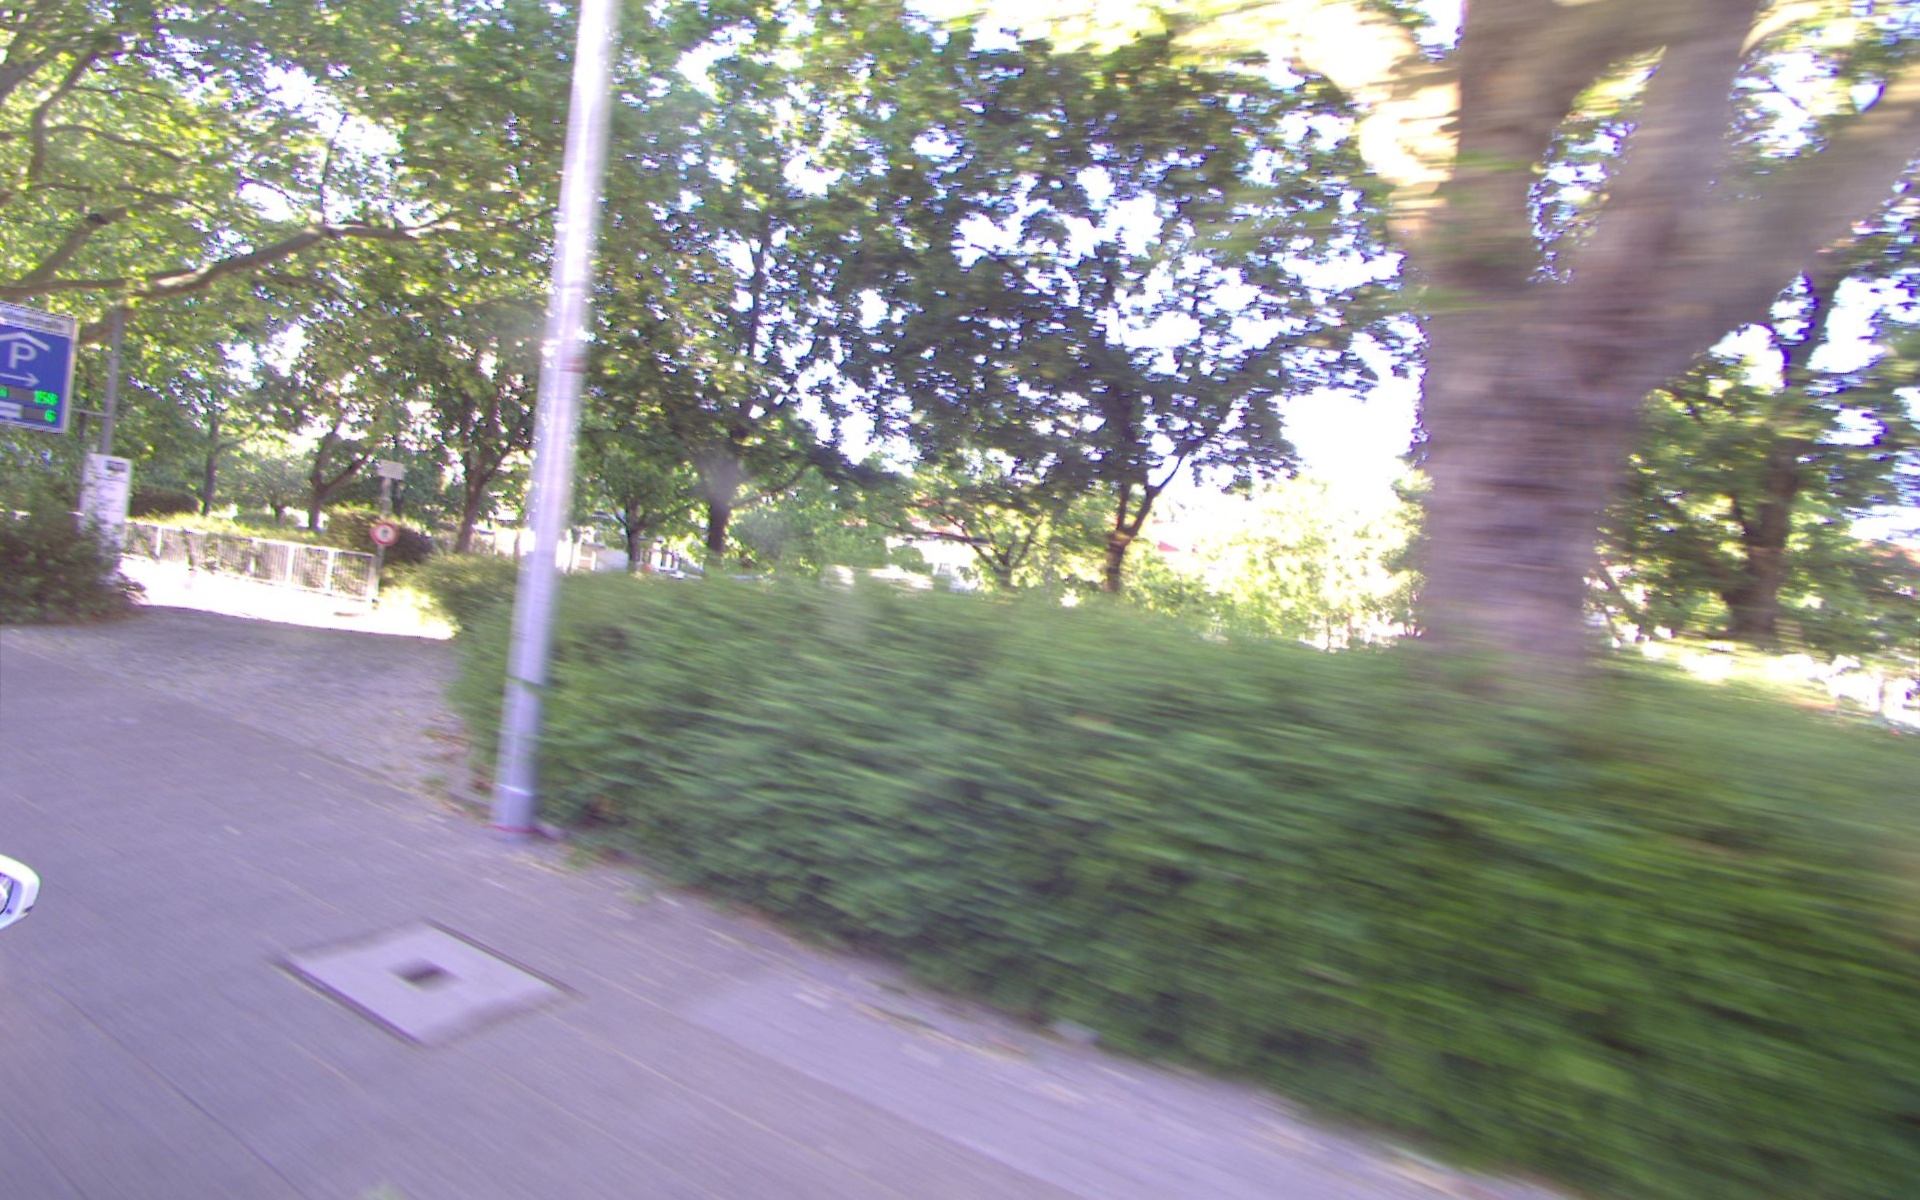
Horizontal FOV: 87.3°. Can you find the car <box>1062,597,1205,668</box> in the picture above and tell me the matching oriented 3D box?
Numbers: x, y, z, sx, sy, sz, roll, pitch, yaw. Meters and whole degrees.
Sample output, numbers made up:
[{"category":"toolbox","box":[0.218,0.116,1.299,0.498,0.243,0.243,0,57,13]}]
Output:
[{"category":"car","box":[5.838,1.086,33.921,4.238,1.834,1.784,7,1,30]}]

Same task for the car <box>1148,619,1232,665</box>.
[{"category":"car","box":[12.792,2.352,55.918,3.977,1.970,1.922,7,-1,30]}]

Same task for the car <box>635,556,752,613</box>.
[{"category":"car","box":[-10.040,-0.575,37.875,3.930,1.647,1.762,7,1,27]}]

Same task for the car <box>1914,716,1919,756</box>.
[{"category":"car","box":[36.783,5.230,36.853,1.602,1.503,3.844,7,0,29]}]

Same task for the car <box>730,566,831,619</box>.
[{"category":"car","box":[-7.463,-0.324,41.719,3.933,1.645,1.551,7,-1,32]}]

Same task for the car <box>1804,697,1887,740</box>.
[{"category":"car","box":[40.807,5.408,46.434,1.600,1.509,3.601,7,0,22]}]

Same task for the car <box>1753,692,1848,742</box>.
[{"category":"car","box":[42.253,5.821,50.721,2.052,1.810,4.907,6,1,21]}]

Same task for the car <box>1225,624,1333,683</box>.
[{"category":"car","box":[14.569,2.429,45.969,4.238,2.115,1.784,7,1,30]}]

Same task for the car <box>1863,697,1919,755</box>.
[{"category":"car","box":[51.598,6.937,53.250,5.022,2.654,1.998,8,3,17]}]
